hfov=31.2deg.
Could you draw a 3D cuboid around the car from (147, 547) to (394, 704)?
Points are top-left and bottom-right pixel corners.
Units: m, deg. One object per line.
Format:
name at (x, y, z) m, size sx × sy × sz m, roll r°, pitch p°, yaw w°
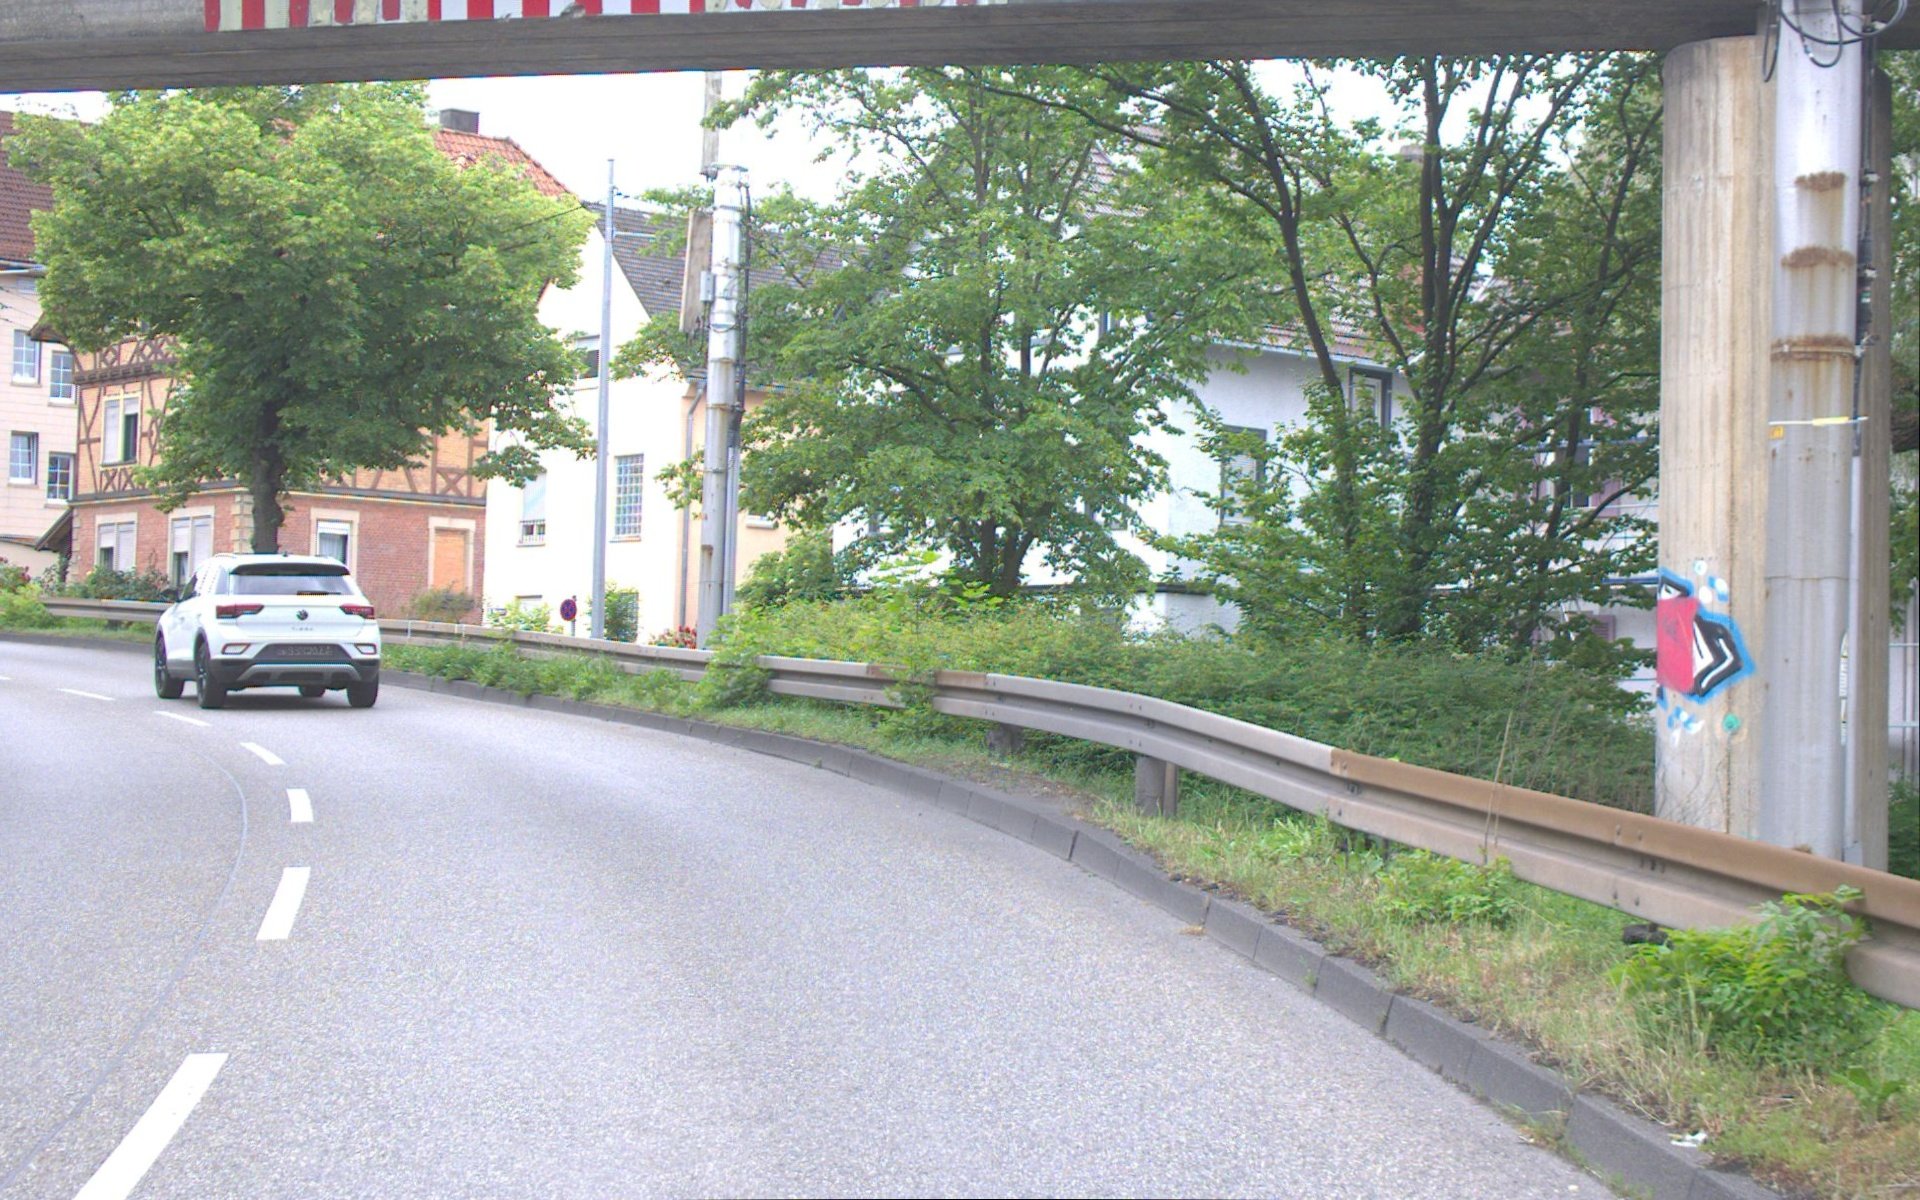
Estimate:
car at (-7.197, 0.227, 35.685) m, size 1.796 × 1.513 × 3.457 m, roll 0°, pitch 1°, yaw -24°
